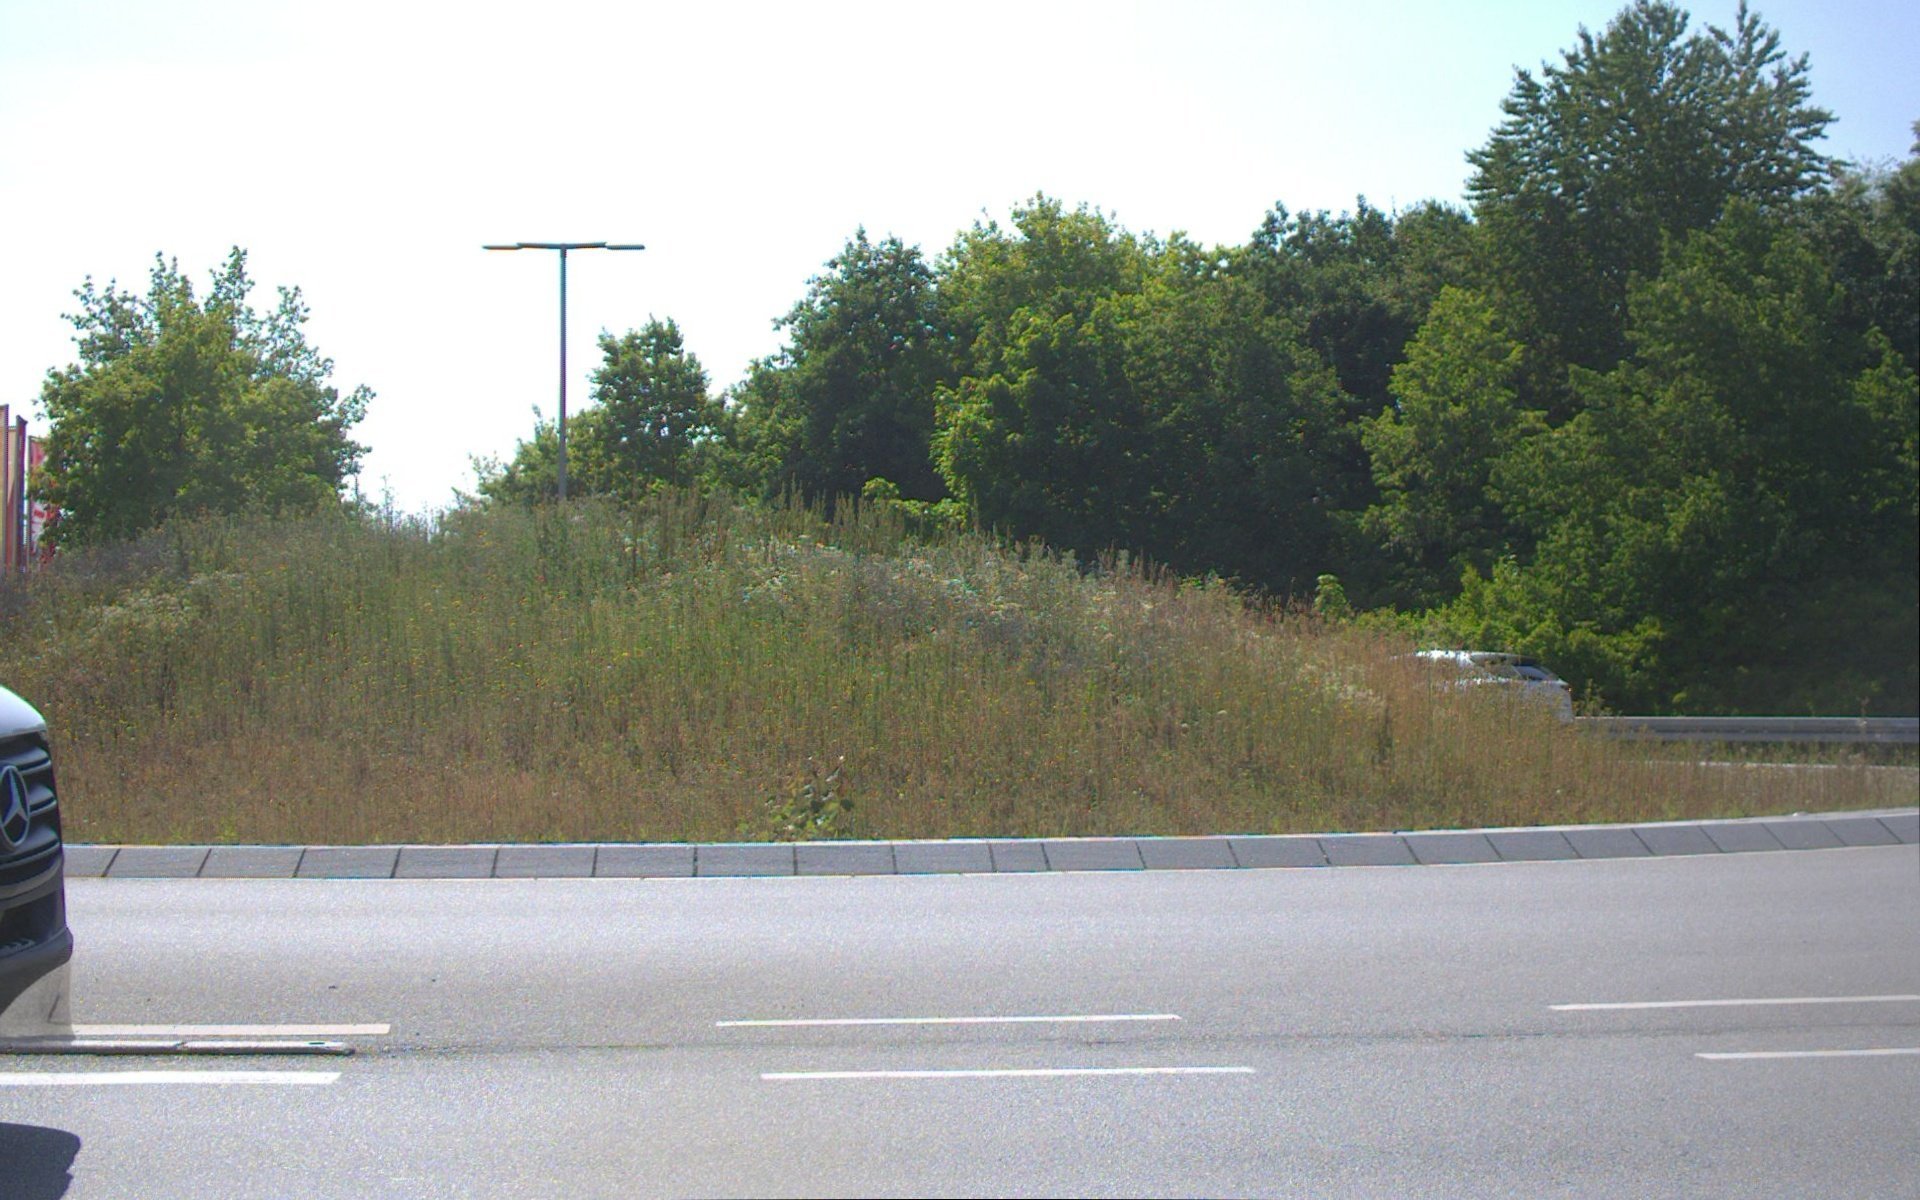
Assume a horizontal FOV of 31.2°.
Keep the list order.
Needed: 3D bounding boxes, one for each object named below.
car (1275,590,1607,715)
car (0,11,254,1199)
[{"bbox_3d":[6.134,0.712,44.285,1.786,1.525,4.287,1,-2,-35],"label":"car"},{"bbox_3d":[-5.165,0.053,8.956,6.120,2.911,2.084,1,0,7],"label":"car"}]
